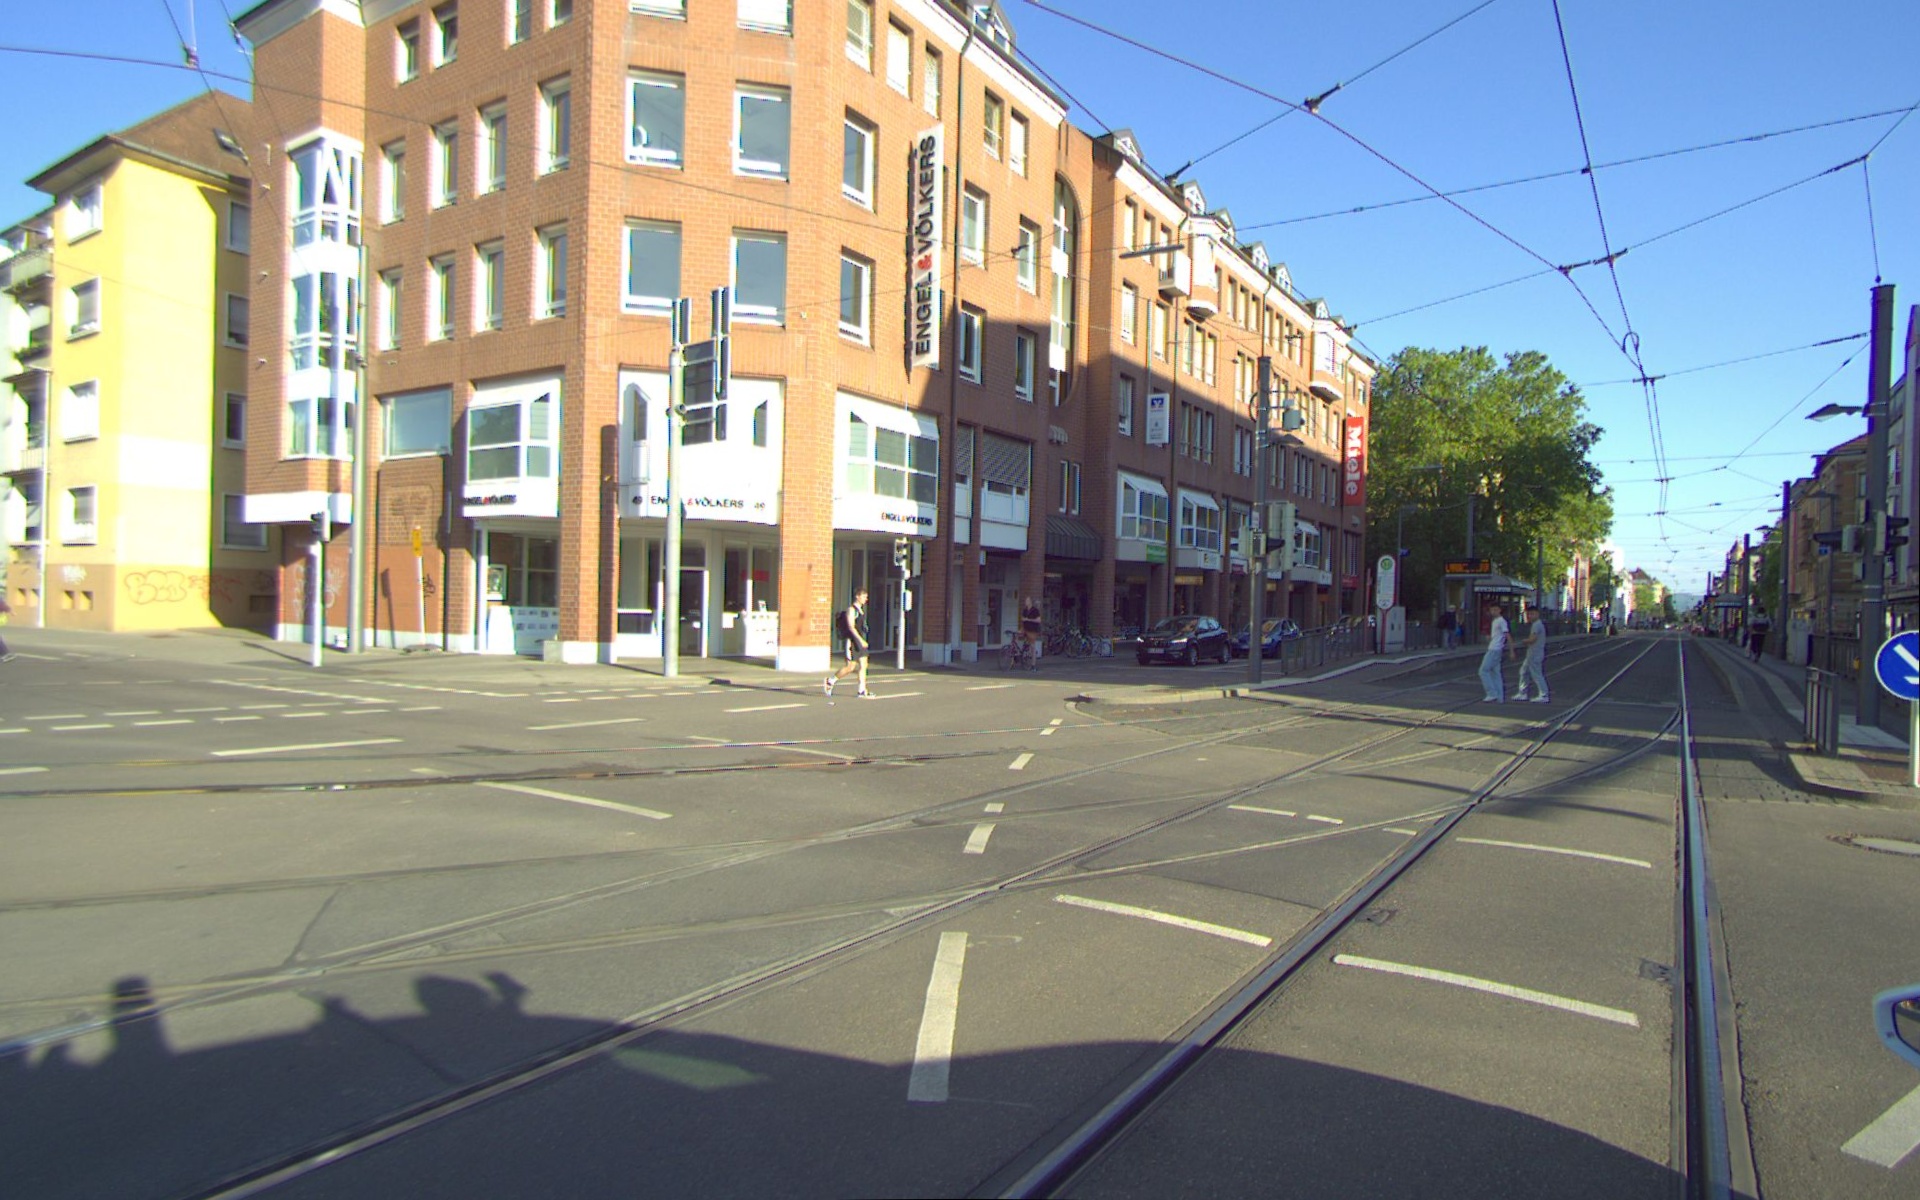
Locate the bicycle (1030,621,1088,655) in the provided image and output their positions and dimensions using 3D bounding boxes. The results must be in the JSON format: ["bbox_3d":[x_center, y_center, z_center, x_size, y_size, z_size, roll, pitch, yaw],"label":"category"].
[{"bbox_3d":[3.184,1.213,32.279,1.806,0.974,0.542,2,2,34],"label":"bicycle"}]

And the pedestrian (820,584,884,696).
[{"bbox_3d":[-1.772,0.633,16.467,0.819,1.781,0.690,0,2,-30],"label":"pedestrian"}]

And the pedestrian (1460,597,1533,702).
[{"bbox_3d":[9.454,0.851,17.725,0.985,1.788,0.511,1,2,12],"label":"pedestrian"}]

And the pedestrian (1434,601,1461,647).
[{"bbox_3d":[17.124,0.837,35.286,0.677,1.599,0.622,1,2,11],"label":"pedestrian"}]

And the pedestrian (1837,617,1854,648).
[{"bbox_3d":[58.701,2.153,66.596,0.764,2.041,0.502,2,2,40],"label":"pedestrian"}]

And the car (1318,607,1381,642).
[{"bbox_3d":[18.338,1.126,47.202,1.722,1.444,3.922,2,2,37],"label":"car"}]

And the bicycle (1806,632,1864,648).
[{"bbox_3d":[62.742,2.888,72.009,3.108,1.006,0.901,1,2,8],"label":"bicycle"}]

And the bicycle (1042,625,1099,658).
[{"bbox_3d":[3.626,1.346,32.981,1.806,0.974,0.542,2,2,34],"label":"bicycle"}]

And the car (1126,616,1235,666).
[{"bbox_3d":[6.806,1.209,30.774,1.723,1.261,3.921,2,2,38],"label":"car"}]

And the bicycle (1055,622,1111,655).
[{"bbox_3d":[4.138,1.288,33.814,1.806,0.974,0.542,2,2,34],"label":"bicycle"}]

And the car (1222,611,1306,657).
[{"bbox_3d":[11.225,1.205,36.966,1.722,1.444,3.922,2,2,37],"label":"car"}]

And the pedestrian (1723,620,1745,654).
[{"bbox_3d":[40.465,1.932,52.518,0.766,1.682,0.683,2,2,26],"label":"pedestrian"}]

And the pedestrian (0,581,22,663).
[{"bbox_3d":[-19.202,0.424,19.841,0.772,1.610,0.608,1,2,5],"label":"pedestrian"}]

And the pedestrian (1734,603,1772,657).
[{"bbox_3d":[25.689,0.959,32.539,0.766,1.682,0.683,2,2,26],"label":"pedestrian"}]

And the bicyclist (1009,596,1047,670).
[{"bbox_3d":[1.820,0.869,26.879,0.625,1.904,0.806,3,2,41],"label":"bicyclist"}]

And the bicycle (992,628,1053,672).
[{"bbox_3d":[1.683,1.309,26.741,0.625,1.063,1.827,2,2,41],"label":"bicycle"}]

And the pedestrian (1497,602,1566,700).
[{"bbox_3d":[10.374,0.918,18.264,0.850,1.717,0.623,1,2,0],"label":"pedestrian"}]

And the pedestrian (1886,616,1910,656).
[{"bbox_3d":[49.477,1.892,52.991,0.829,2.041,0.773,2,2,40],"label":"pedestrian"}]
